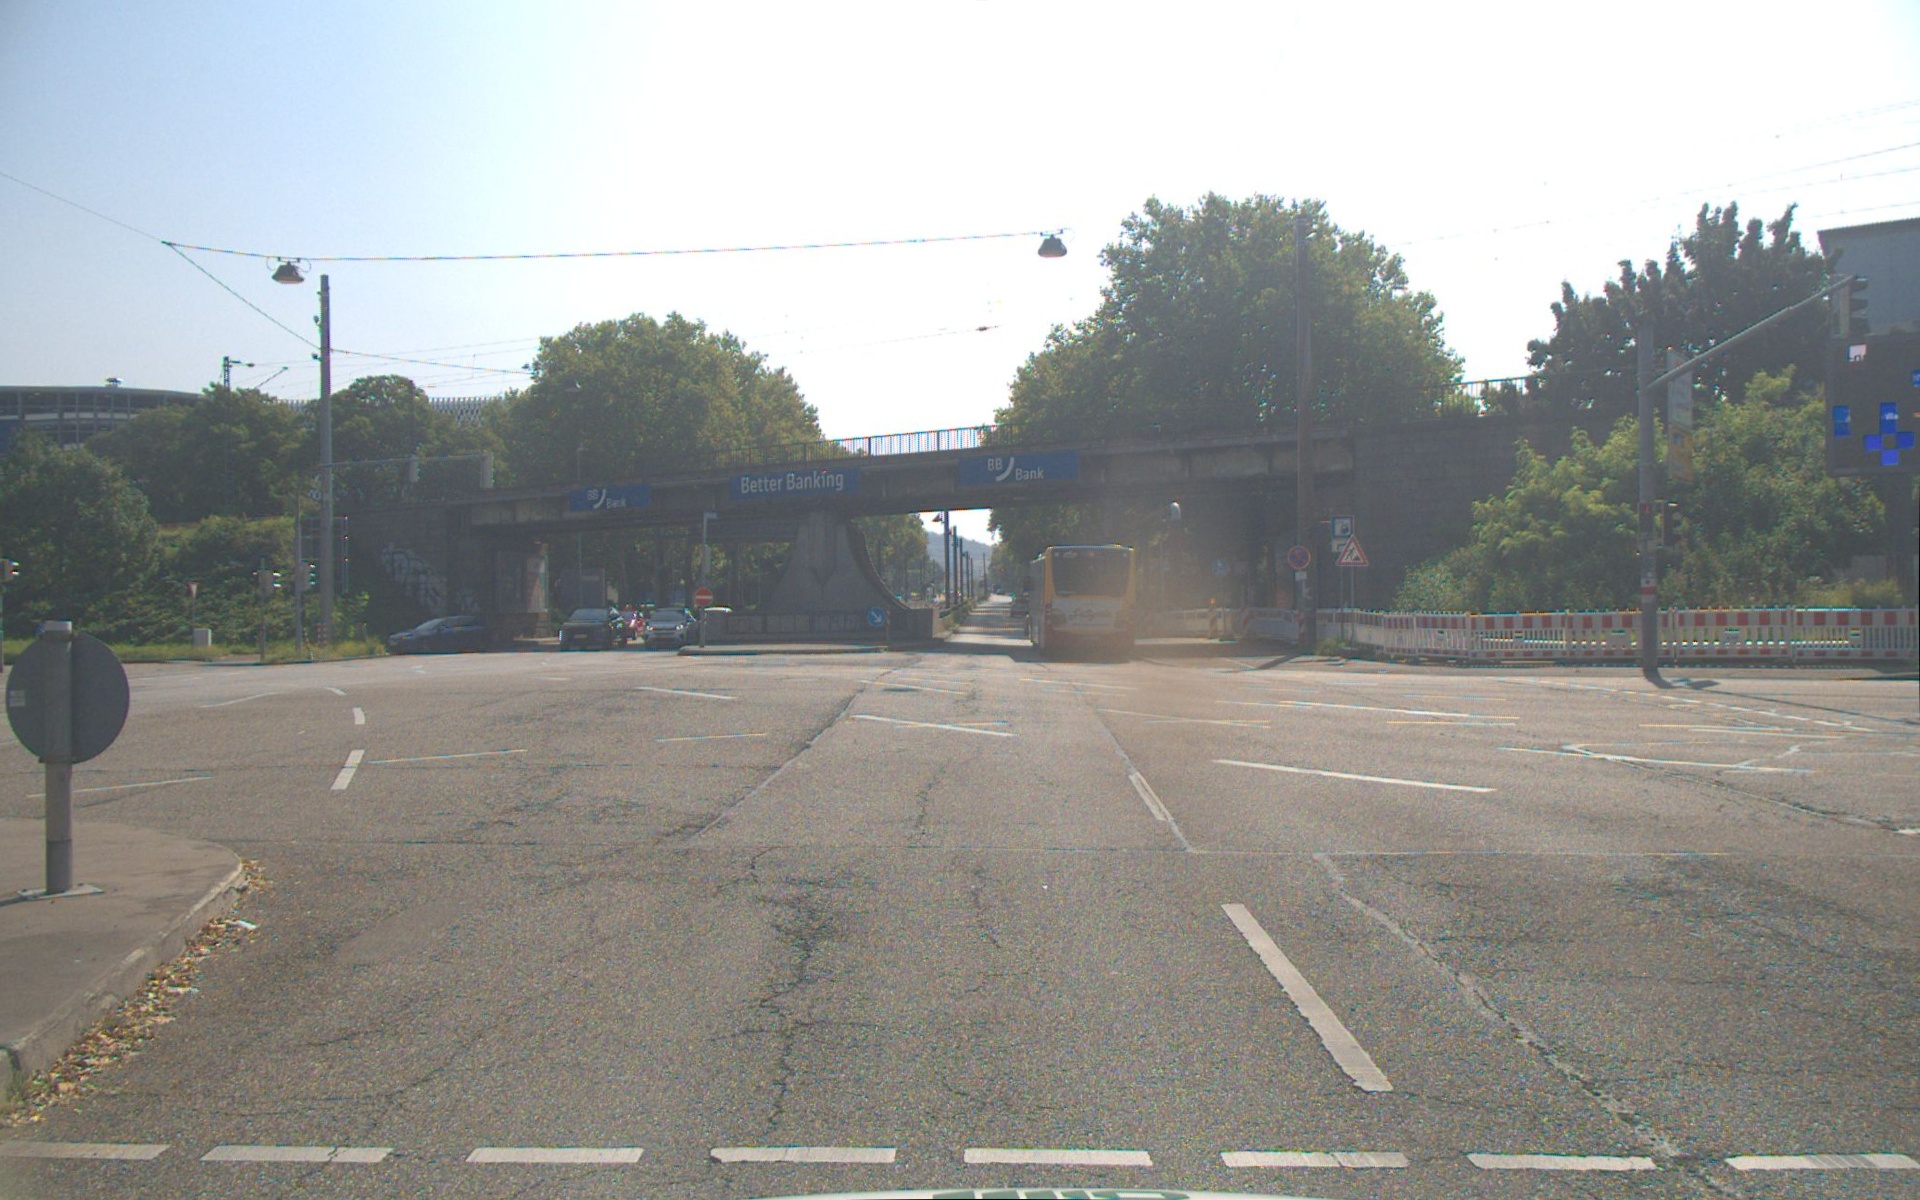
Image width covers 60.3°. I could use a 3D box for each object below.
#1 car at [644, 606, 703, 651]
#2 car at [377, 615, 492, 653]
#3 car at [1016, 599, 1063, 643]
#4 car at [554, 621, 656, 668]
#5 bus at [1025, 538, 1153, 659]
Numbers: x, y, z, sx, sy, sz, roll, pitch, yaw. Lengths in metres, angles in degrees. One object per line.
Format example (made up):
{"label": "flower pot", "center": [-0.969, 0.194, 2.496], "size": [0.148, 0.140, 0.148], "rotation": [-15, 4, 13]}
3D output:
{"label": "car", "center": [-10.717, 1.047, 62.047], "size": [1.687, 1.565, 3.694], "rotation": [-2, 0, -2]}
{"label": "car", "center": [-20.692, 1.350, 65.265], "size": [1.756, 1.453, 3.973], "rotation": [1, -1, 43]}
{"label": "car", "center": [3.918, 1.020, 81.994], "size": [1.953, 2.049, 3.998], "rotation": [1, 0, -2]}
{"label": "car", "center": [-13.479, 1.670, 63.070], "size": [1.861, 1.645, 4.477], "rotation": [-3, -1, 16]}
{"label": "bus", "center": [3.704, 0.017, 50.531], "size": [3.070, 3.168, 12.291], "rotation": [1, 0, 1]}
